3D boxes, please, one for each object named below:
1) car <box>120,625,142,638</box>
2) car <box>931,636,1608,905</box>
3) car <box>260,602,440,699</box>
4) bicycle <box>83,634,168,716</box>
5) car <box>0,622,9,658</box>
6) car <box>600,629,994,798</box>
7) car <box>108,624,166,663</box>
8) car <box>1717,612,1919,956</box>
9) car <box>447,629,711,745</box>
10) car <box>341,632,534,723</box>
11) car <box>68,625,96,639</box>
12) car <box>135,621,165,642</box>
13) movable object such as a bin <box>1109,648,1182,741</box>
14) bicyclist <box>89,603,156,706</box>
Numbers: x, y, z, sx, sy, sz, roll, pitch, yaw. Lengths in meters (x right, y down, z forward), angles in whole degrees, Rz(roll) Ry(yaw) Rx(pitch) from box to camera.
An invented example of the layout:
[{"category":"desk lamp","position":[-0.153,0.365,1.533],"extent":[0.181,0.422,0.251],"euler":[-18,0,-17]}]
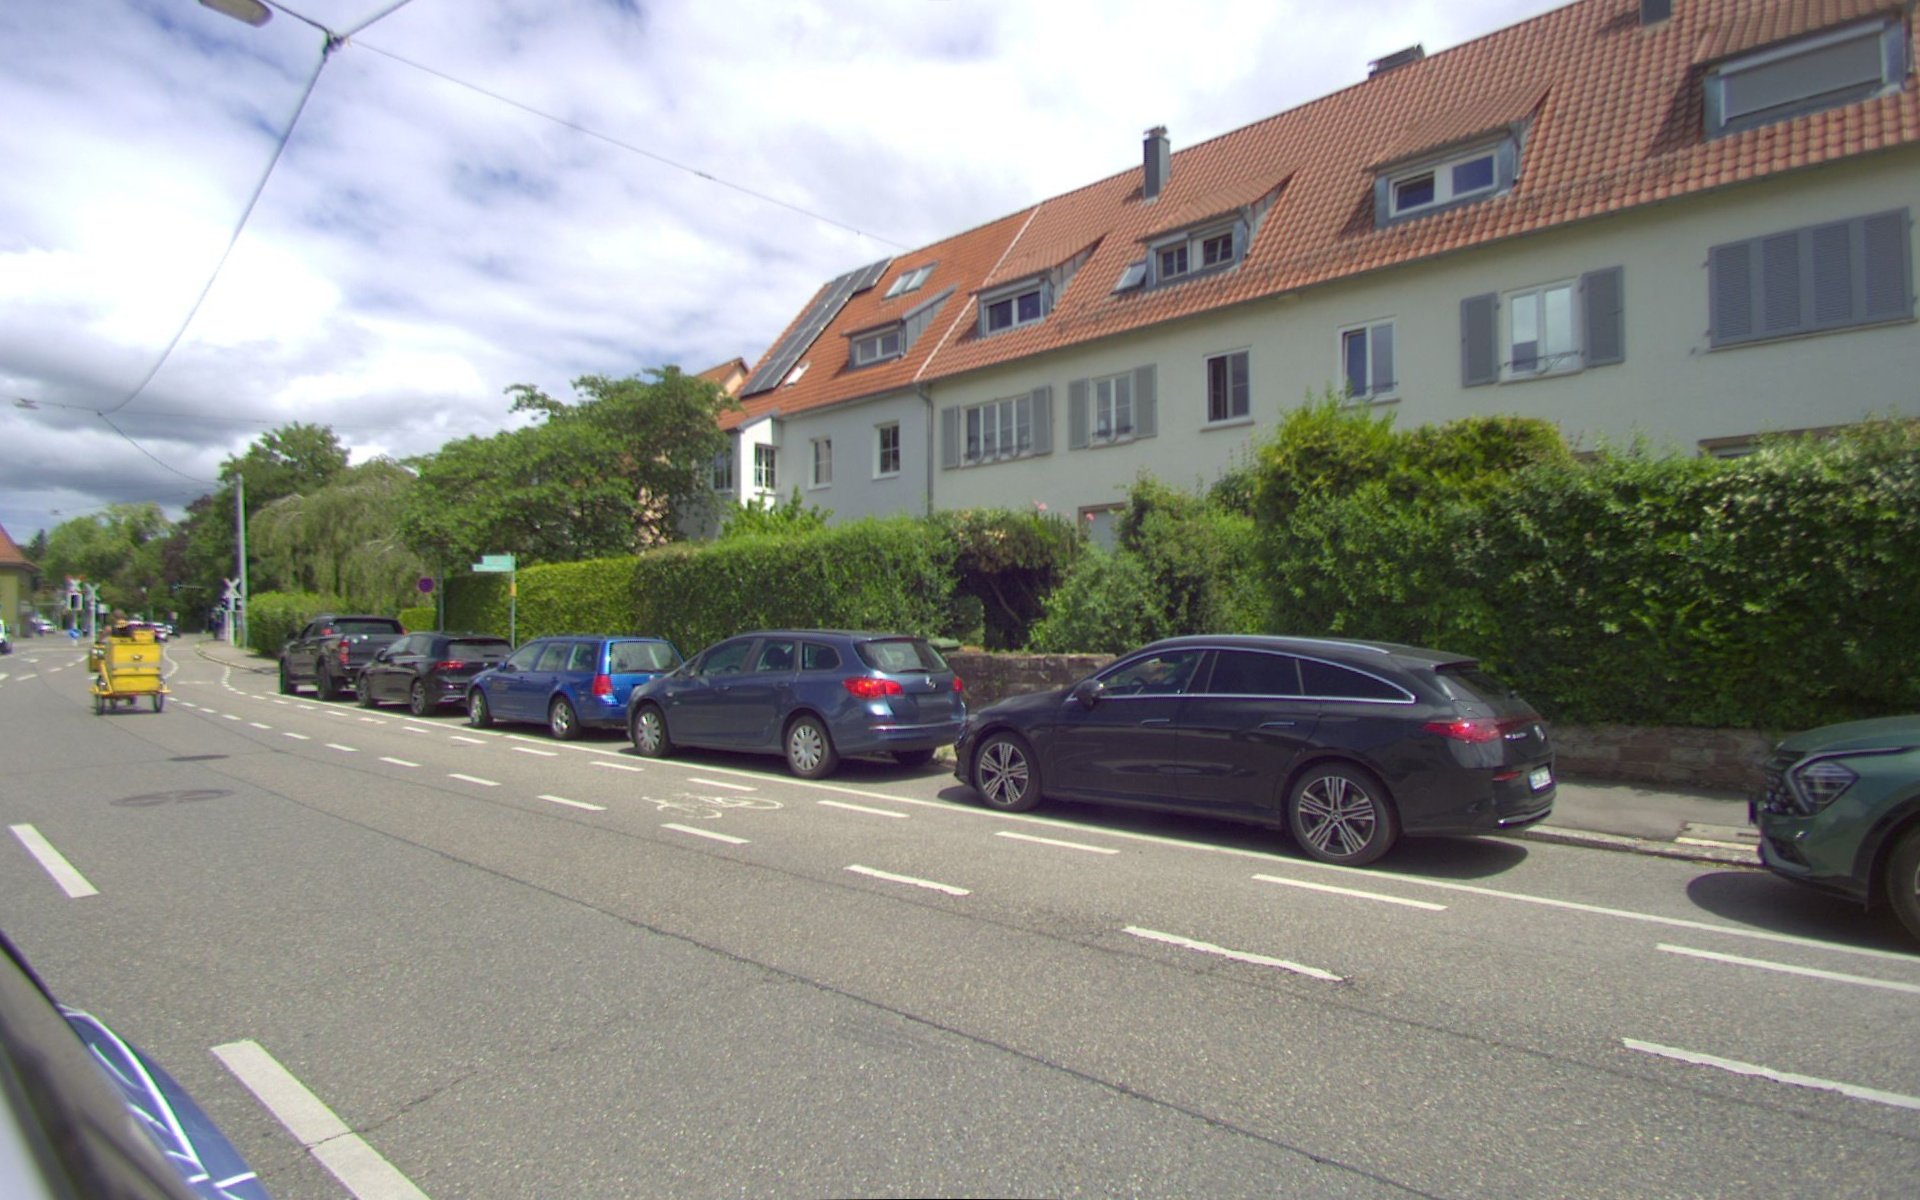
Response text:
[{"category":"car","position":[-98.989,3.786,120.837],"extent":[1.903,1.431,4.008],"euler":[-1,0,-38]},{"category":"car","position":[2.129,1.026,7.920],"extent":[4.689,1.419,1.972],"euler":[-1,-2,43]},{"category":"car","position":[-13.630,1.081,22.460],"extent":[5.404,1.909,1.971],"euler":[-1,-3,43]},{"category":"bicycle","position":[-14.629,1.254,17.709],"extent":[2.662,1.311,0.854],"euler":[-2,-2,44]},{"category":"car","position":[-49.307,2.028,50.860],"extent":[1.904,1.795,4.007],"euler":[-1,0,-39]},{"category":"car","position":[-1.964,1.097,11.354],"extent":[4.559,1.503,1.761],"euler":[-1,-2,38]},{"category":"car","position":[-38.190,2.000,46.969],"extent":[1.892,1.661,4.301],"euler":[6,-5,-39]},{"category":"car","position":[6.238,0.830,4.284],"extent":[4.689,1.576,1.972],"euler":[-1,-2,43]},{"category":"car","position":[-5.726,1.162,14.933],"extent":[4.438,1.428,1.759],"euler":[-1,-2,41]},{"category":"car","position":[-9.643,1.318,18.521],"extent":[4.339,1.428,1.758],"euler":[-1,-2,43]},{"category":"car","position":[-95.532,3.482,110.120],"extent":[1.968,1.438,4.009],"euler":[-2,1,-37]},{"category":"car","position":[-64.353,2.482,80.376],"extent":[1.824,1.586,4.166],"euler":[0,-1,-40]},{"category":"movable object such as a bin","position":[2.189,1.096,11.937],"extent":[0.635,1.010,0.571],"euler":[-1,0,38]},{"category":"bicyclist","position":[-14.683,0.934,17.738],"extent":[0.783,1.727,1.209],"euler":[1,-2,-45]}]
